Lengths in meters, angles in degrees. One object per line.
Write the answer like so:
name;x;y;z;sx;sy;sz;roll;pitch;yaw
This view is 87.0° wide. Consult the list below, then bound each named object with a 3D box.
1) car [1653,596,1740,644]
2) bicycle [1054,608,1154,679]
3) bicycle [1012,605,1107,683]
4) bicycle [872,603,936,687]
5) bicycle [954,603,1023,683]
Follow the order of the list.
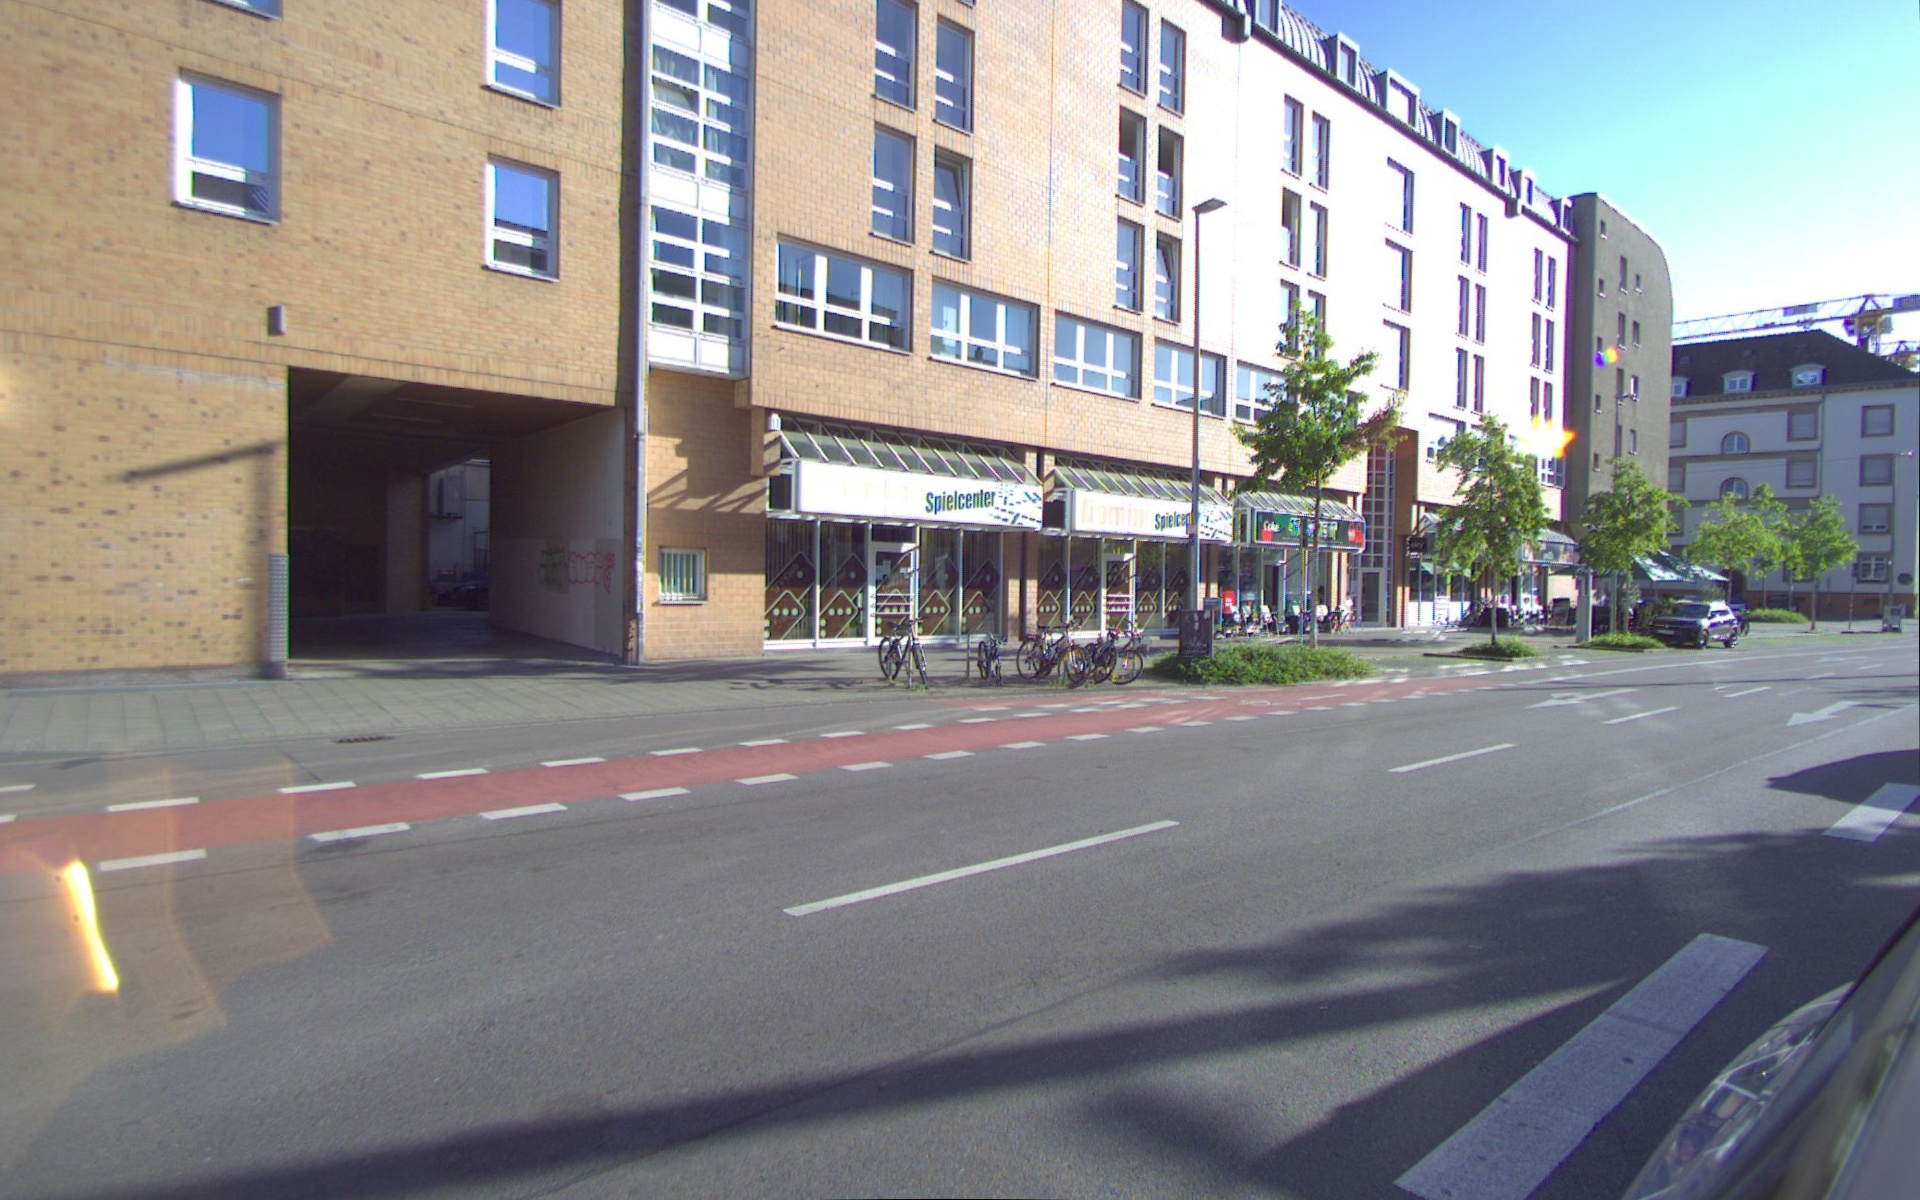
car;25.720;0.649;35.324;3.628;1.549;1.654;-1;0;-40
bicycle;2.549;0.748;18.077;0.724;1.084;1.775;-1;3;-37
bicycle;1.673;0.718;17.241;0.543;1.155;1.775;-1;3;-37
bicycle;-0.922;0.689;16.299;0.541;1.162;1.780;0;3;-20
bicycle;0.445;0.677;16.769;0.541;1.162;1.780;0;3;-20
